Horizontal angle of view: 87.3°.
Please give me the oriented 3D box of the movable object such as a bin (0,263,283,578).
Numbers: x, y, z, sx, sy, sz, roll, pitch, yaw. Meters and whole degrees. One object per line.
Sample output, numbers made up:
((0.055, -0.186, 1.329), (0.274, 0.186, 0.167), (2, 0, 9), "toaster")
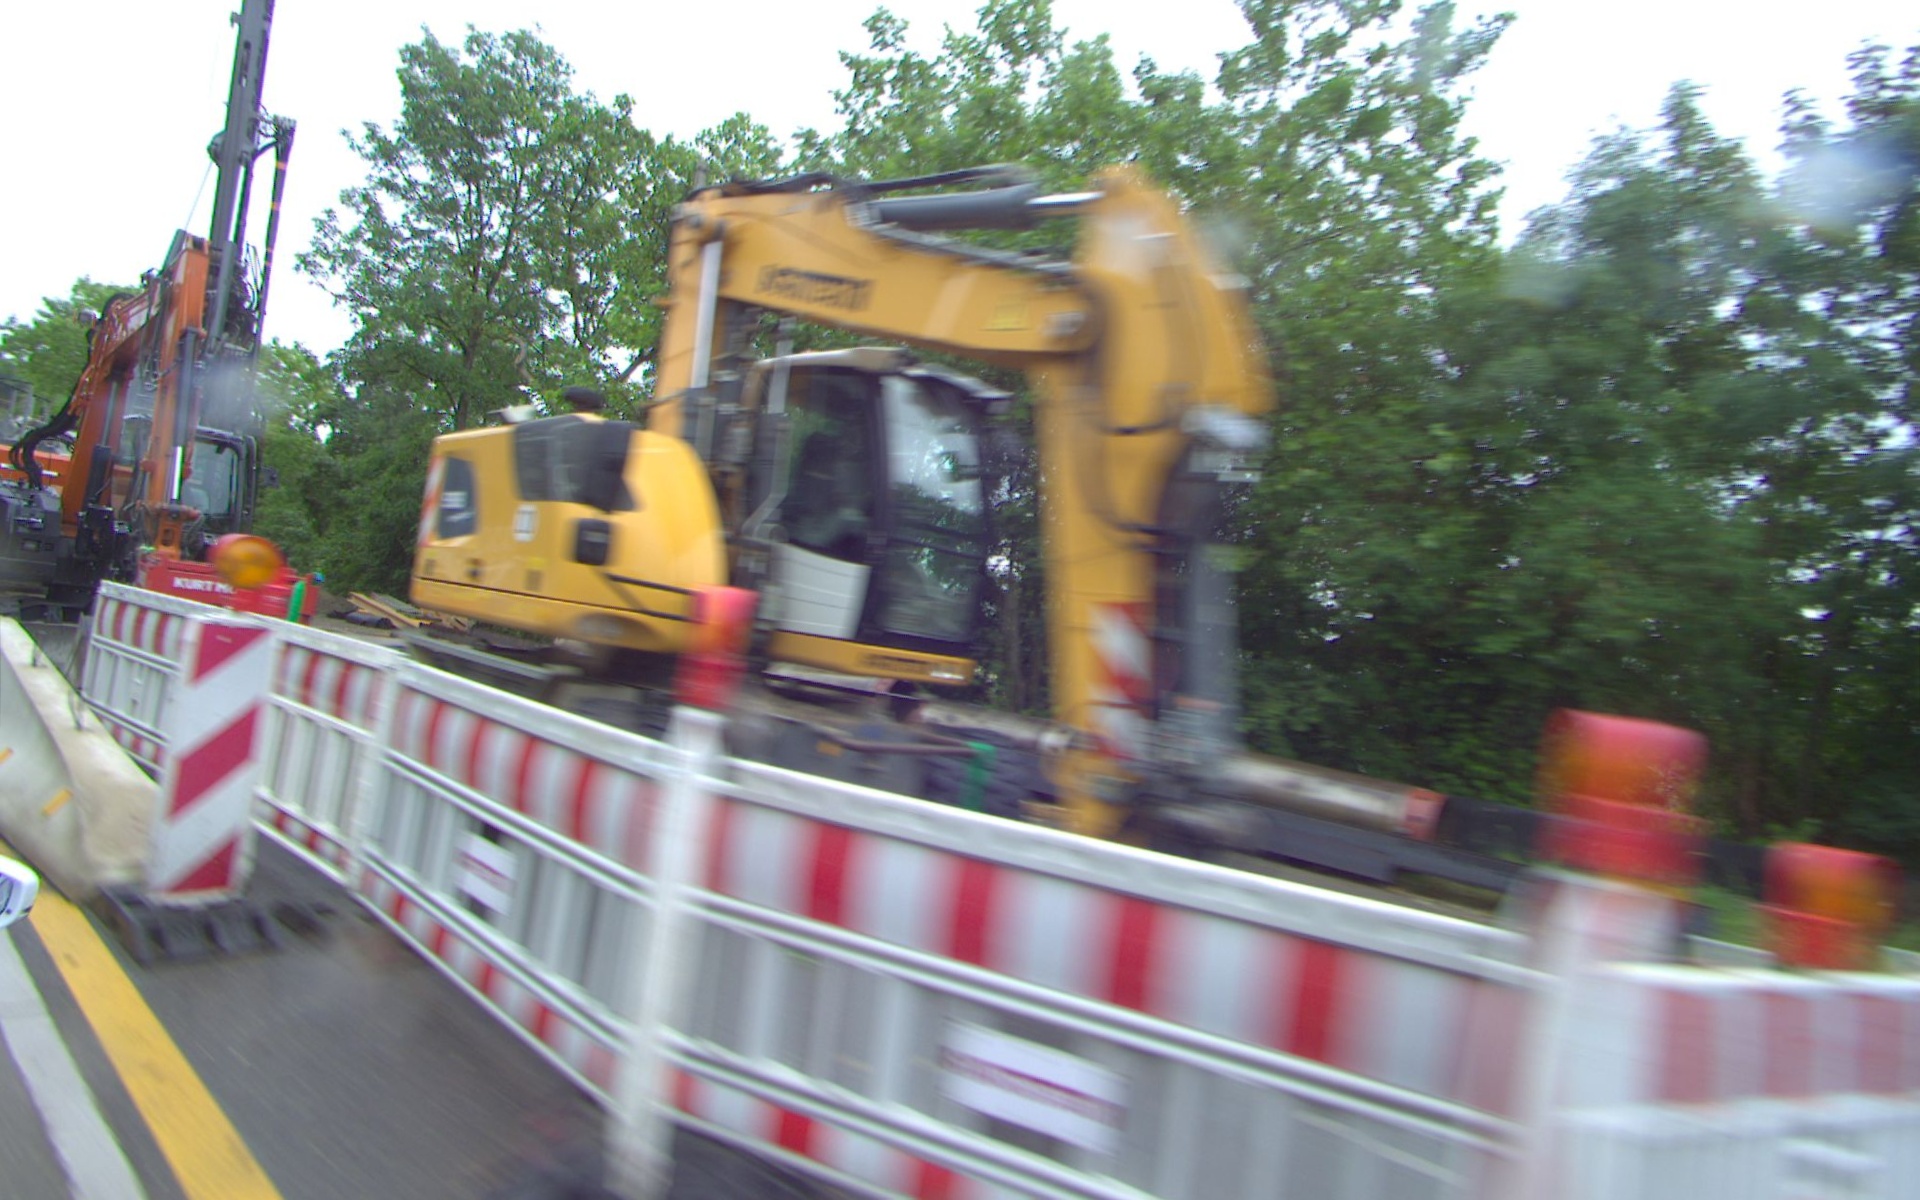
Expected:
((-17.713, -3.309, 21.385), (3.645, 5.125, 7.129), (7, -2, -22), "movable object such as a bin")

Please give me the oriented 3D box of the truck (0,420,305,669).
((-9.338, -0.550, 11.064), (3.256, 2.132, 2.550), (5, -2, 39), "truck")

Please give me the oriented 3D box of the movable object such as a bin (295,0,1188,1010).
((-1.533, -0.659, 6.166), (4.426, 4.220, 2.875), (7, -1, 42), "movable object such as a bin")
